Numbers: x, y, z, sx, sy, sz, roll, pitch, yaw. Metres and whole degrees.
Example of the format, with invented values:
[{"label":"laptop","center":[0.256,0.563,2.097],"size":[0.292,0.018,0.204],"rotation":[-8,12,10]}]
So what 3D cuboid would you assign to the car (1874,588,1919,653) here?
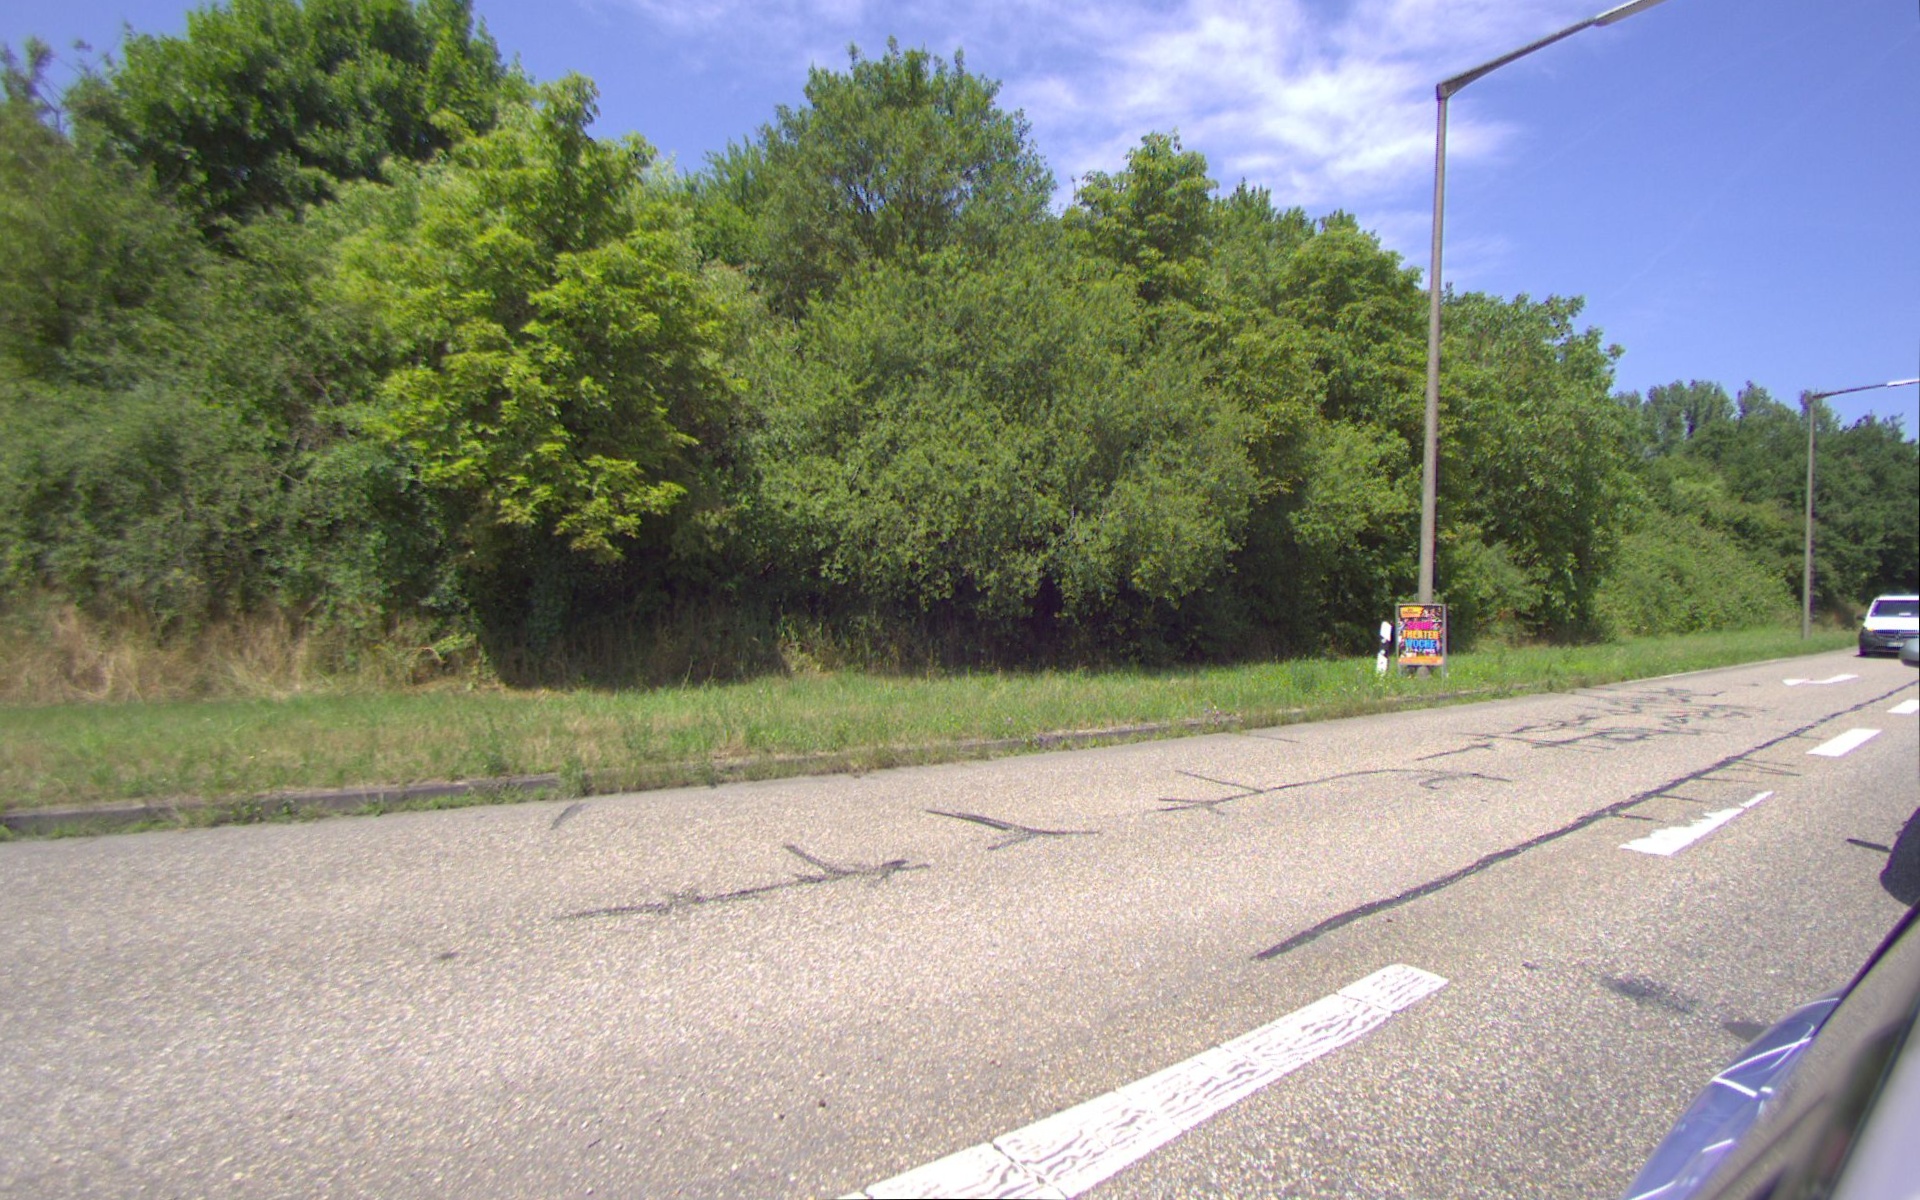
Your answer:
[{"label":"car","center":[28.868,0.578,30.140],"size":[4.822,1.841,1.863],"rotation":[0,0,-41]}]
